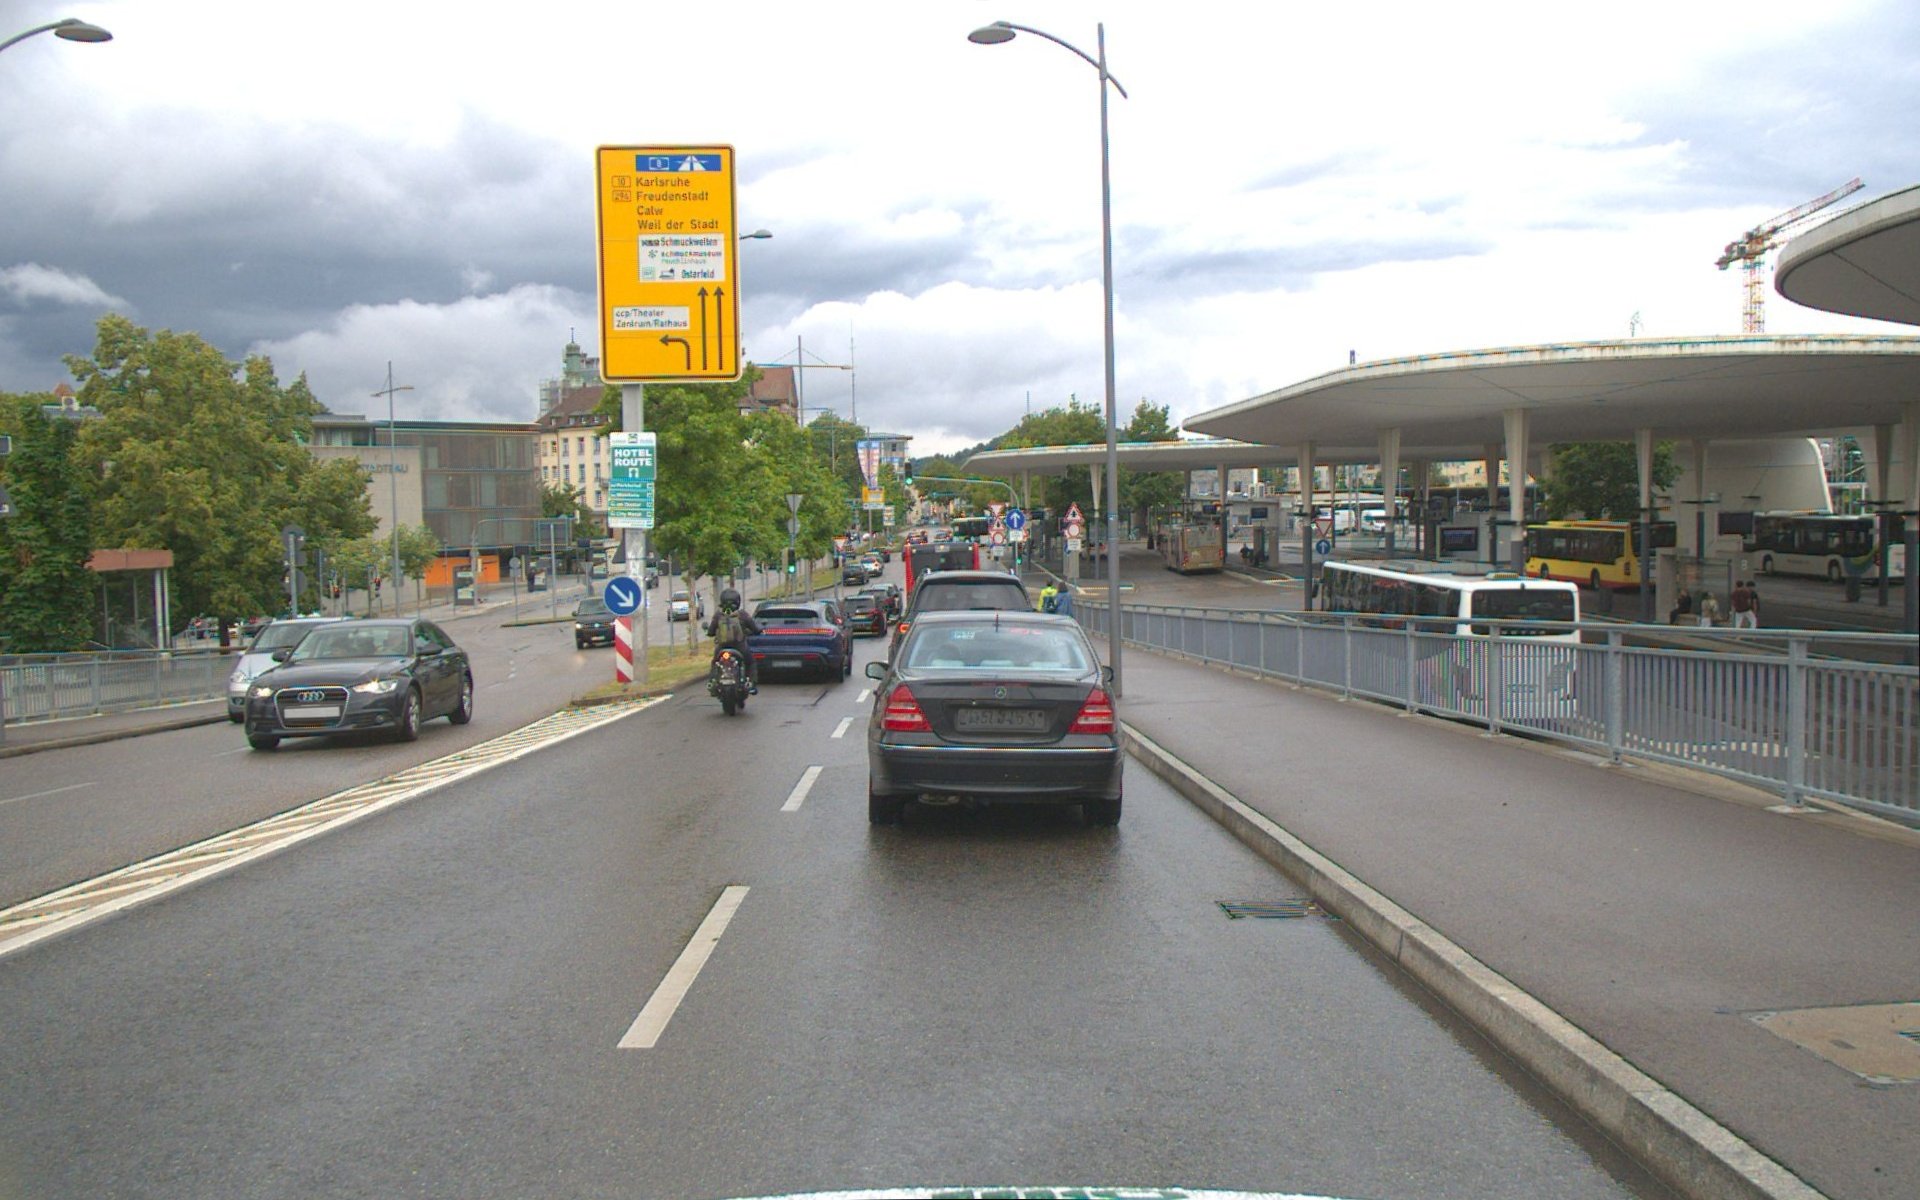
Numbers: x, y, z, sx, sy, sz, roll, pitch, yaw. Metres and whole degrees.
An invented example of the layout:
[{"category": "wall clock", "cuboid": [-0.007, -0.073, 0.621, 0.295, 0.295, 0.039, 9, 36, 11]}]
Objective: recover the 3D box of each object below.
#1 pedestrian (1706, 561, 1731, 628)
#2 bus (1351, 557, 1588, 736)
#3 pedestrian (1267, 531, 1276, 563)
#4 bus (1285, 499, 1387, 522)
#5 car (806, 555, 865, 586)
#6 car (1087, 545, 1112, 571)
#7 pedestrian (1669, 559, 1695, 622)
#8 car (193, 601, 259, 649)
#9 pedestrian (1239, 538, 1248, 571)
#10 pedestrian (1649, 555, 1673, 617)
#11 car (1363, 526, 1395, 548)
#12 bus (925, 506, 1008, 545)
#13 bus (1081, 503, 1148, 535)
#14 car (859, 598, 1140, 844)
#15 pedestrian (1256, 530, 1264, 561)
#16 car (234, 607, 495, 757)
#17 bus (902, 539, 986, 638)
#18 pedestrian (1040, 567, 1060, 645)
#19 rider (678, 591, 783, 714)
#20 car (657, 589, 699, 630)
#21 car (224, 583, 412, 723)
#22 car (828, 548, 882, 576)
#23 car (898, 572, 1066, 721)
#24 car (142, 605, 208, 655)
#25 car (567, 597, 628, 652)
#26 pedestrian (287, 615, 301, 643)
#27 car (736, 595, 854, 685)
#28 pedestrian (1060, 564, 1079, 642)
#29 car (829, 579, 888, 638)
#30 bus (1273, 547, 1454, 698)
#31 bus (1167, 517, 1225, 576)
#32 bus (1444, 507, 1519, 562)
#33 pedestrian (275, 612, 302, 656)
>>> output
[{"category": "pedestrian", "cuboid": [23.653, -0.172, 51.581, 0.549, 2.049, 0.483, -2, 1, 1]}, {"category": "bus", "cuboid": [11.001, 0.842, 36.495, 2.594, 3.292, 7.068, -2, 3, -4]}, {"category": "pedestrian", "cuboid": [20.170, -3.405, 107.155, 0.415, 2.049, 0.483, -2, -2, 1]}, {"category": "bus", "cuboid": [38.278, -9.090, 168.535, 9.967, 2.048, 2.168, -2, 1, -4]}, {"category": "car", "cuboid": [-8.889, -2.116, 117.875, 3.903, 2.048, 2.001, -2, 1, 3]}, {"category": "car", "cuboid": [11.415, -3.432, 135.476, 1.951, 2.048, 4.003, -1, 1, 5]}, {"category": "pedestrian", "cuboid": [23.707, -0.326, 54.306, 0.532, 2.049, 0.579, -2, 1, 0]}, {"category": "car", "cuboid": [-35.490, 1.200, 79.902, 1.979, 2.048, 3.948, 3, 1, -37]}, {"category": "pedestrian", "cuboid": [17.745, -2.840, 103.450, 0.415, 2.049, 0.483, -2, 1, 1]}, {"category": "pedestrian", "cuboid": [23.596, -0.475, 55.672, 0.532, 2.049, 0.579, -2, 1, 0]}, {"category": "car", "cuboid": [39.558, -5.963, 156.238, 1.953, 2.048, 4.000, -2, 2, -1]}, {"category": "bus", "cuboid": [0.636, -8.363, 183.504, 3.235, 4.076, 10.744, -5, 5, -38]}, {"category": "bus", "cuboid": [17.646, -9.269, 189.130, 7.057, 3.455, 3.080, -2, 2, -5]}, {"category": "car", "cuboid": [0.290, 0.718, 11.707, 1.670, 1.444, 3.726, 0, 0, 2]}, {"category": "pedestrian", "cuboid": [20.092, -3.627, 110.668, 0.415, 2.049, 0.483, -2, 1, 1]}, {"category": "car", "cuboid": [-7.267, 0.920, 20.691, 1.796, 1.553, 4.591, -2, 0, -4]}, {"category": "bus", "cuboid": [-0.607, -0.413, 59.382, 2.770, 3.245, 10.307, 0, 1, -1]}, {"category": "pedestrian", "cuboid": [2.387, 0.159, 43.877, 0.479, 2.049, 0.470, -2, -2, 1]}, {"category": "rider", "cuboid": [-2.944, 0.639, 21.471, 0.862, 1.497, 2.197, 1, 1, 5]}, {"category": "car", "cuboid": [-14.891, 0.514, 87.388, 1.956, 2.049, 4.195, -2, 0, -7]}, {"category": "car", "cuboid": [-10.427, 0.793, 27.169, 1.956, 2.049, 3.993, -2, 0, -8]}, {"category": "car", "cuboid": [-8.067, -2.943, 127.757, 3.903, 2.048, 2.001, -2, 1, 3]}, {"category": "car", "cuboid": [0.379, 0.508, 21.142, 1.788, 1.716, 4.003, 0, 1, 6]}, {"category": "car", "cuboid": [-37.186, 1.396, 78.314, 1.979, 2.048, 3.948, 3, 1, -37]}, {"category": "car", "cuboid": [-14.458, 0.962, 66.118, 1.956, 2.049, 4.195, -2, 0, -7]}, {"category": "pedestrian", "cuboid": [-22.392, 0.976, 55.624, 0.294, 0.888, 0.298, -2, 2, 2]}, {"category": "car", "cuboid": [-2.877, 0.659, 29.559, 1.724, 1.461, 4.000, 0, 1, -1]}, {"category": "pedestrian", "cuboid": [2.908, 0.087, 43.932, 0.415, 2.049, 0.483, -2, -2, 1]}, {"category": "car", "cuboid": [-3.589, 0.265, 59.191, 1.953, 2.041, 3.999, 0, 1, -1]}, {"category": "bus", "cuboid": [10.458, 0.428, 43.604, 2.594, 3.291, 7.069, -2, 4, -4]}, {"category": "bus", "cuboid": [15.609, -3.478, 110.182, 3.111, 3.663, 10.516, -1, 1, 5]}, {"category": "bus", "cuboid": [32.341, -4.066, 102.859, 2.546, 3.265, 6.996, -2, 2, 1]}, {"category": "pedestrian", "cuboid": [-22.569, 1.134, 55.587, 0.634, 1.433, 0.531, -2, 2, 2]}]
